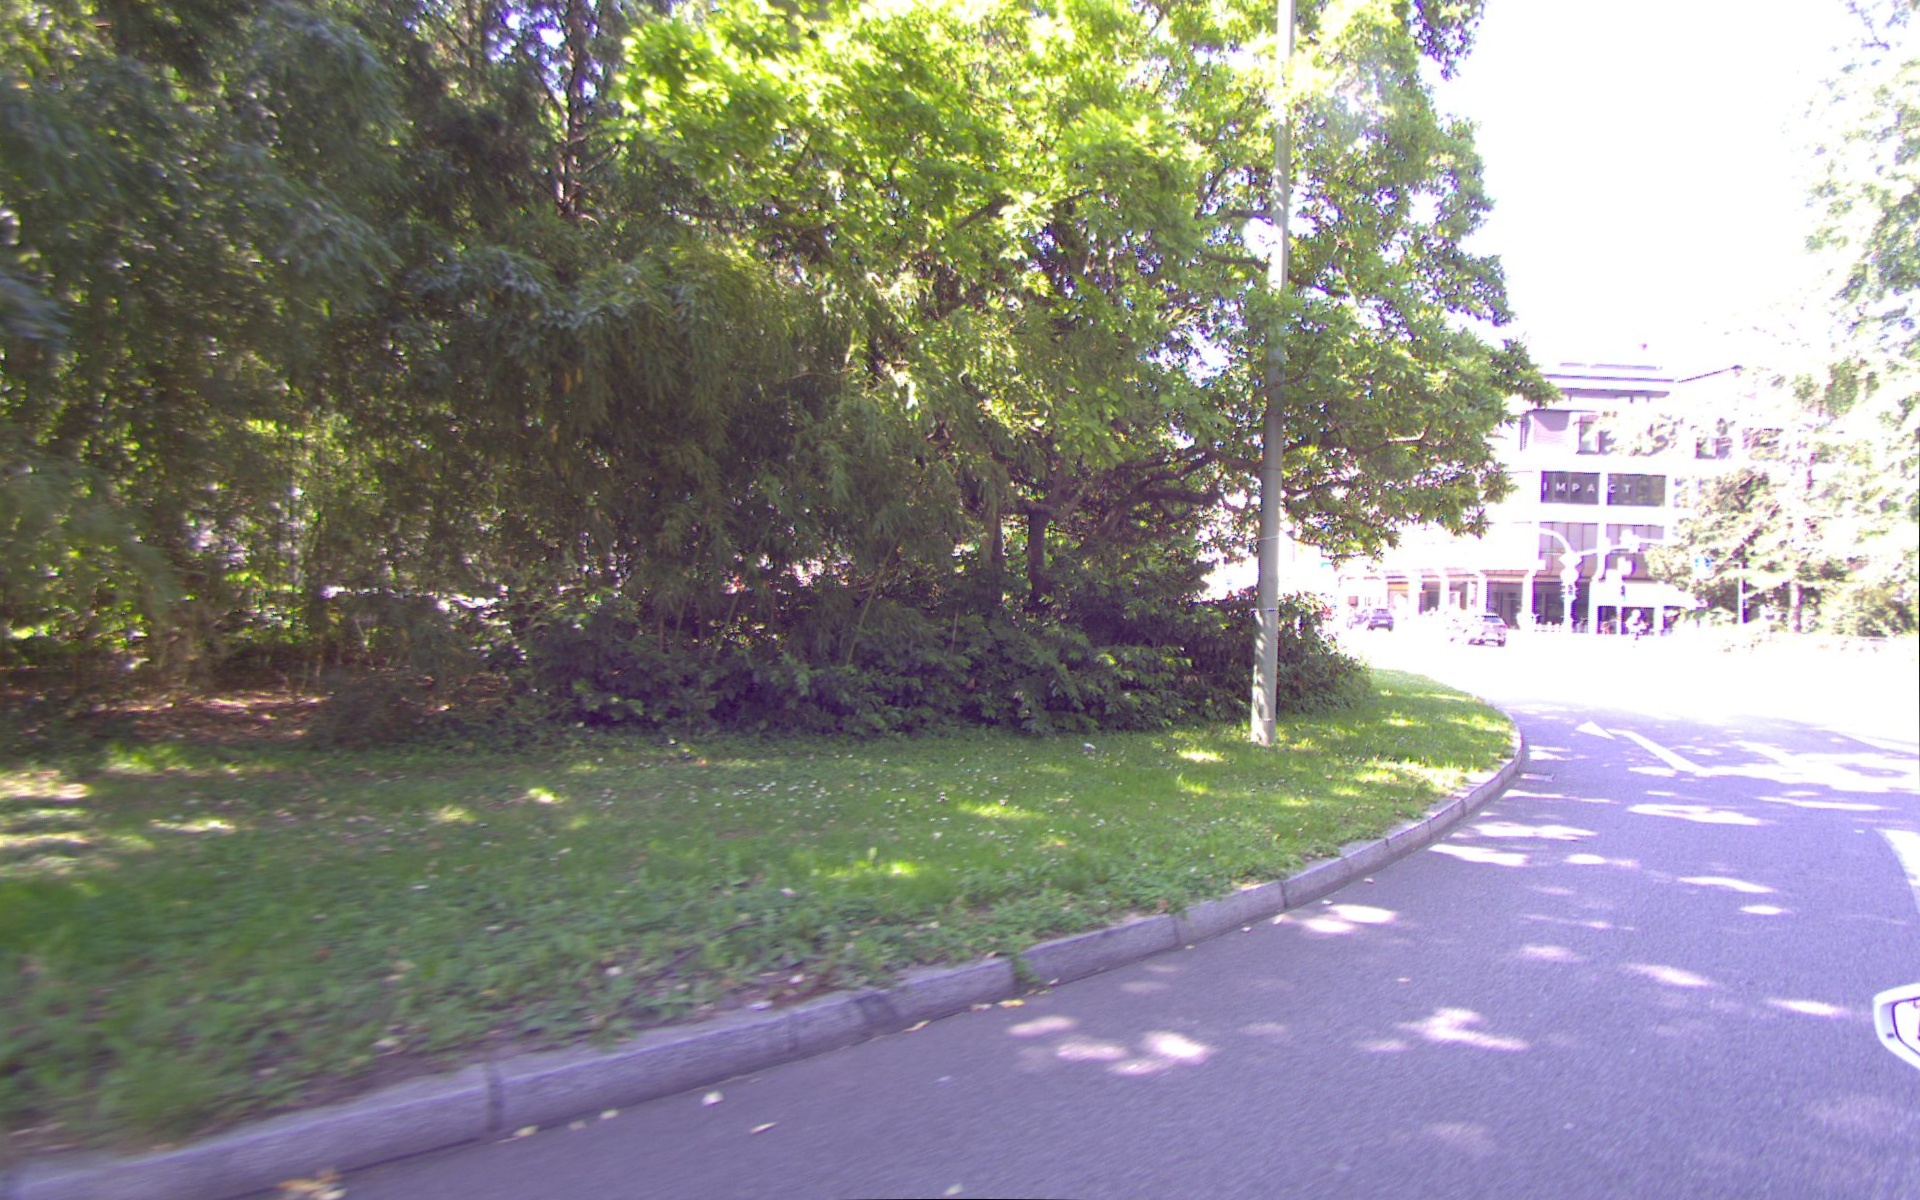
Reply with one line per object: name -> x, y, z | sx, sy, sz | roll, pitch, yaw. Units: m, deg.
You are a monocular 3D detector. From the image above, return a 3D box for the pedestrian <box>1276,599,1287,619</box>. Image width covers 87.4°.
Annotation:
pedestrian -> 29.873, 0.829, 93.279 | 0.758, 1.837, 0.829 | 1, 1, 2

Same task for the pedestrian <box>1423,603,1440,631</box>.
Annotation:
pedestrian -> 31.232, 1.135, 66.553 | 0.758, 1.837, 0.829 | 1, 1, 3

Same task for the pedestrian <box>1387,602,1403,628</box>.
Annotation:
pedestrian -> 30.975, 1.082, 71.464 | 0.758, 1.837, 0.829 | 1, 1, 3

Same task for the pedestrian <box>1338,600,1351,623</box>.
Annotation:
pedestrian -> 31.072, 0.926, 81.198 | 0.758, 1.837, 0.829 | 1, 1, 2

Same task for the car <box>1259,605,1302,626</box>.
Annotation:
car -> 22.556, 1.063, 70.839 | 1.804, 1.428, 3.793 | 1, 0, 0

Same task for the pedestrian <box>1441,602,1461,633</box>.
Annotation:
pedestrian -> 29.948, 1.080, 61.300 | 0.758, 1.837, 0.829 | 1, 1, 3

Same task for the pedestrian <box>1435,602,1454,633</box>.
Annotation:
pedestrian -> 29.982, 1.068, 62.191 | 0.758, 1.837, 0.829 | 1, 1, 3

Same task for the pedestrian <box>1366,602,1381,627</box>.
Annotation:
pedestrian -> 30.849, 1.053, 74.940 | 0.758, 1.837, 0.829 | 1, 1, 3

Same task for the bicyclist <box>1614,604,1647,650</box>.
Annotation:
bicyclist -> 27.717, 1.113, 41.551 | 0.844, 1.820, 1.129 | 2, 1, 22

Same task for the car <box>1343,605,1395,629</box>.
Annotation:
car -> 26.001, 1.073, 63.947 | 1.796, 1.428, 3.794 | 1, 0, 1

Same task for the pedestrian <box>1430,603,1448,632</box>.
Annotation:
pedestrian -> 31.243, 1.149, 65.518 | 0.758, 1.837, 0.829 | 1, 1, 3

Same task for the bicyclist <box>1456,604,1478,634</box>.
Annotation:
bicyclist -> 31.221, 1.162, 61.844 | 0.738, 1.771, 1.130 | 2, 1, 2

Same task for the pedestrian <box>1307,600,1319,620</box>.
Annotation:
pedestrian -> 31.869, 0.893, 90.702 | 0.758, 1.837, 0.829 | 1, 1, 2

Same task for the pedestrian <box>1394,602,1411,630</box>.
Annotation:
pedestrian -> 29.750, 1.052, 67.497 | 0.758, 1.837, 0.829 | 1, 1, 3

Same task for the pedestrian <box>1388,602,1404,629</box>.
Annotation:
pedestrian -> 29.781, 1.062, 68.600 | 0.758, 1.837, 0.829 | 1, 1, 3

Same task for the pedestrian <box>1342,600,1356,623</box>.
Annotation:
pedestrian -> 31.004, 0.927, 80.090 | 0.758, 1.837, 0.829 | 1, 1, 2

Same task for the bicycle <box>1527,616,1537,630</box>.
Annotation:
bicycle -> 38.015, 1.543, 66.805 | 0.499, 0.913, 1.520 | 1, 0, 27

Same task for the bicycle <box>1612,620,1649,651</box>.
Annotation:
bicycle -> 27.721, 1.450, 41.577 | 0.840, 1.176, 2.082 | 2, 1, 22

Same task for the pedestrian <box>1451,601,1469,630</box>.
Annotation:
pedestrian -> 34.662, 1.080, 69.612 | 0.758, 1.985, 0.829 | 1, 1, 3

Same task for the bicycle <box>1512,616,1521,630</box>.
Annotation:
bicycle -> 37.226, 1.513, 67.209 | 0.499, 0.913, 1.520 | 1, 0, 27

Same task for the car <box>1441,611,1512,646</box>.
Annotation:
car -> 25.153, 1.344, 49.067 | 1.914, 1.558, 4.084 | 1, 0, 10
